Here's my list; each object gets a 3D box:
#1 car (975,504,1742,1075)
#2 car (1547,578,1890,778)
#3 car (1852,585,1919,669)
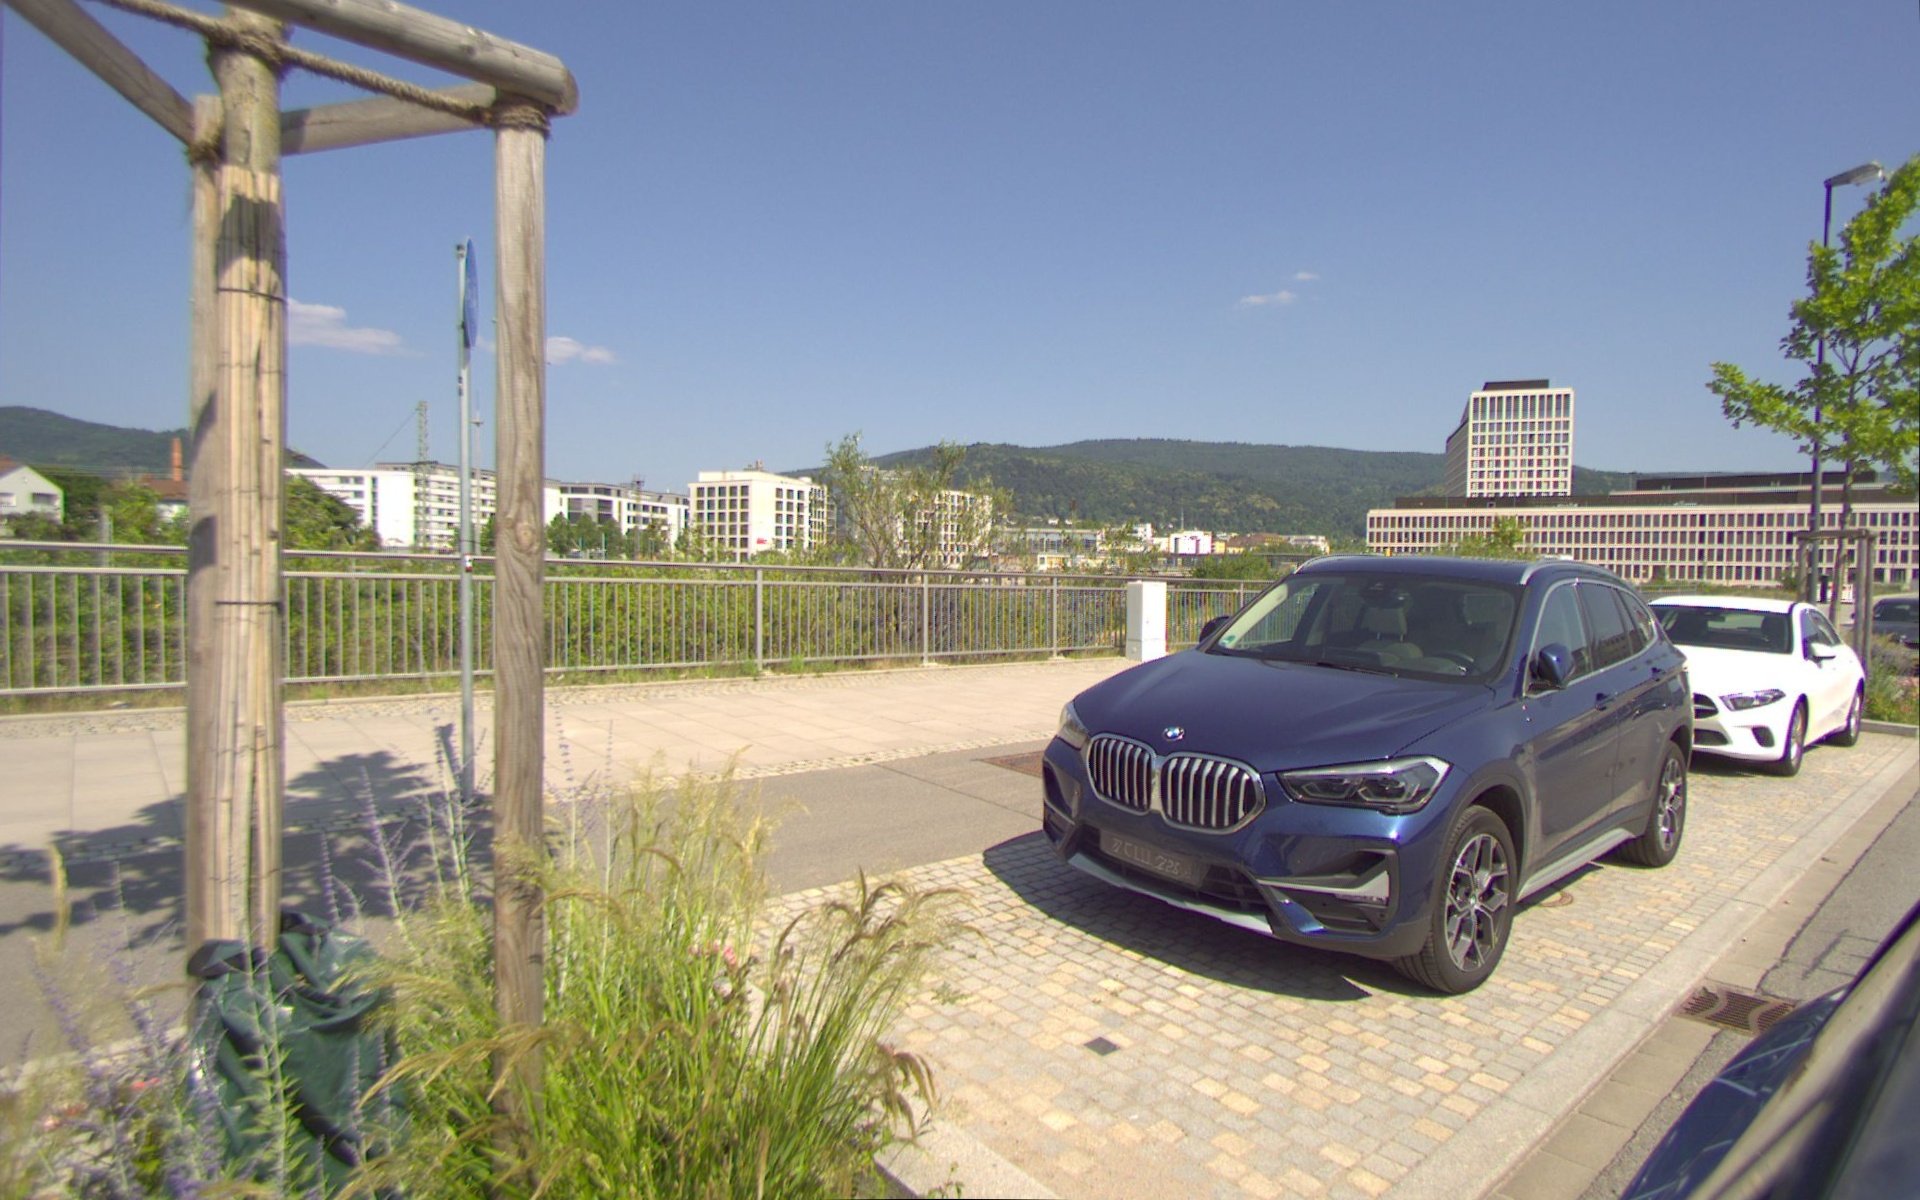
[{"bbox_3d":[2.247,0.489,5.065,4.197,1.703,1.807,-1,4,-41],"label":"car"},{"bbox_3d":[7.326,0.553,9.614,4.197,1.390,1.710,-1,5,-41],"label":"car"},{"bbox_3d":[18.875,0.503,19.628,3.849,1.449,1.808,-1,5,-41],"label":"car"}]
